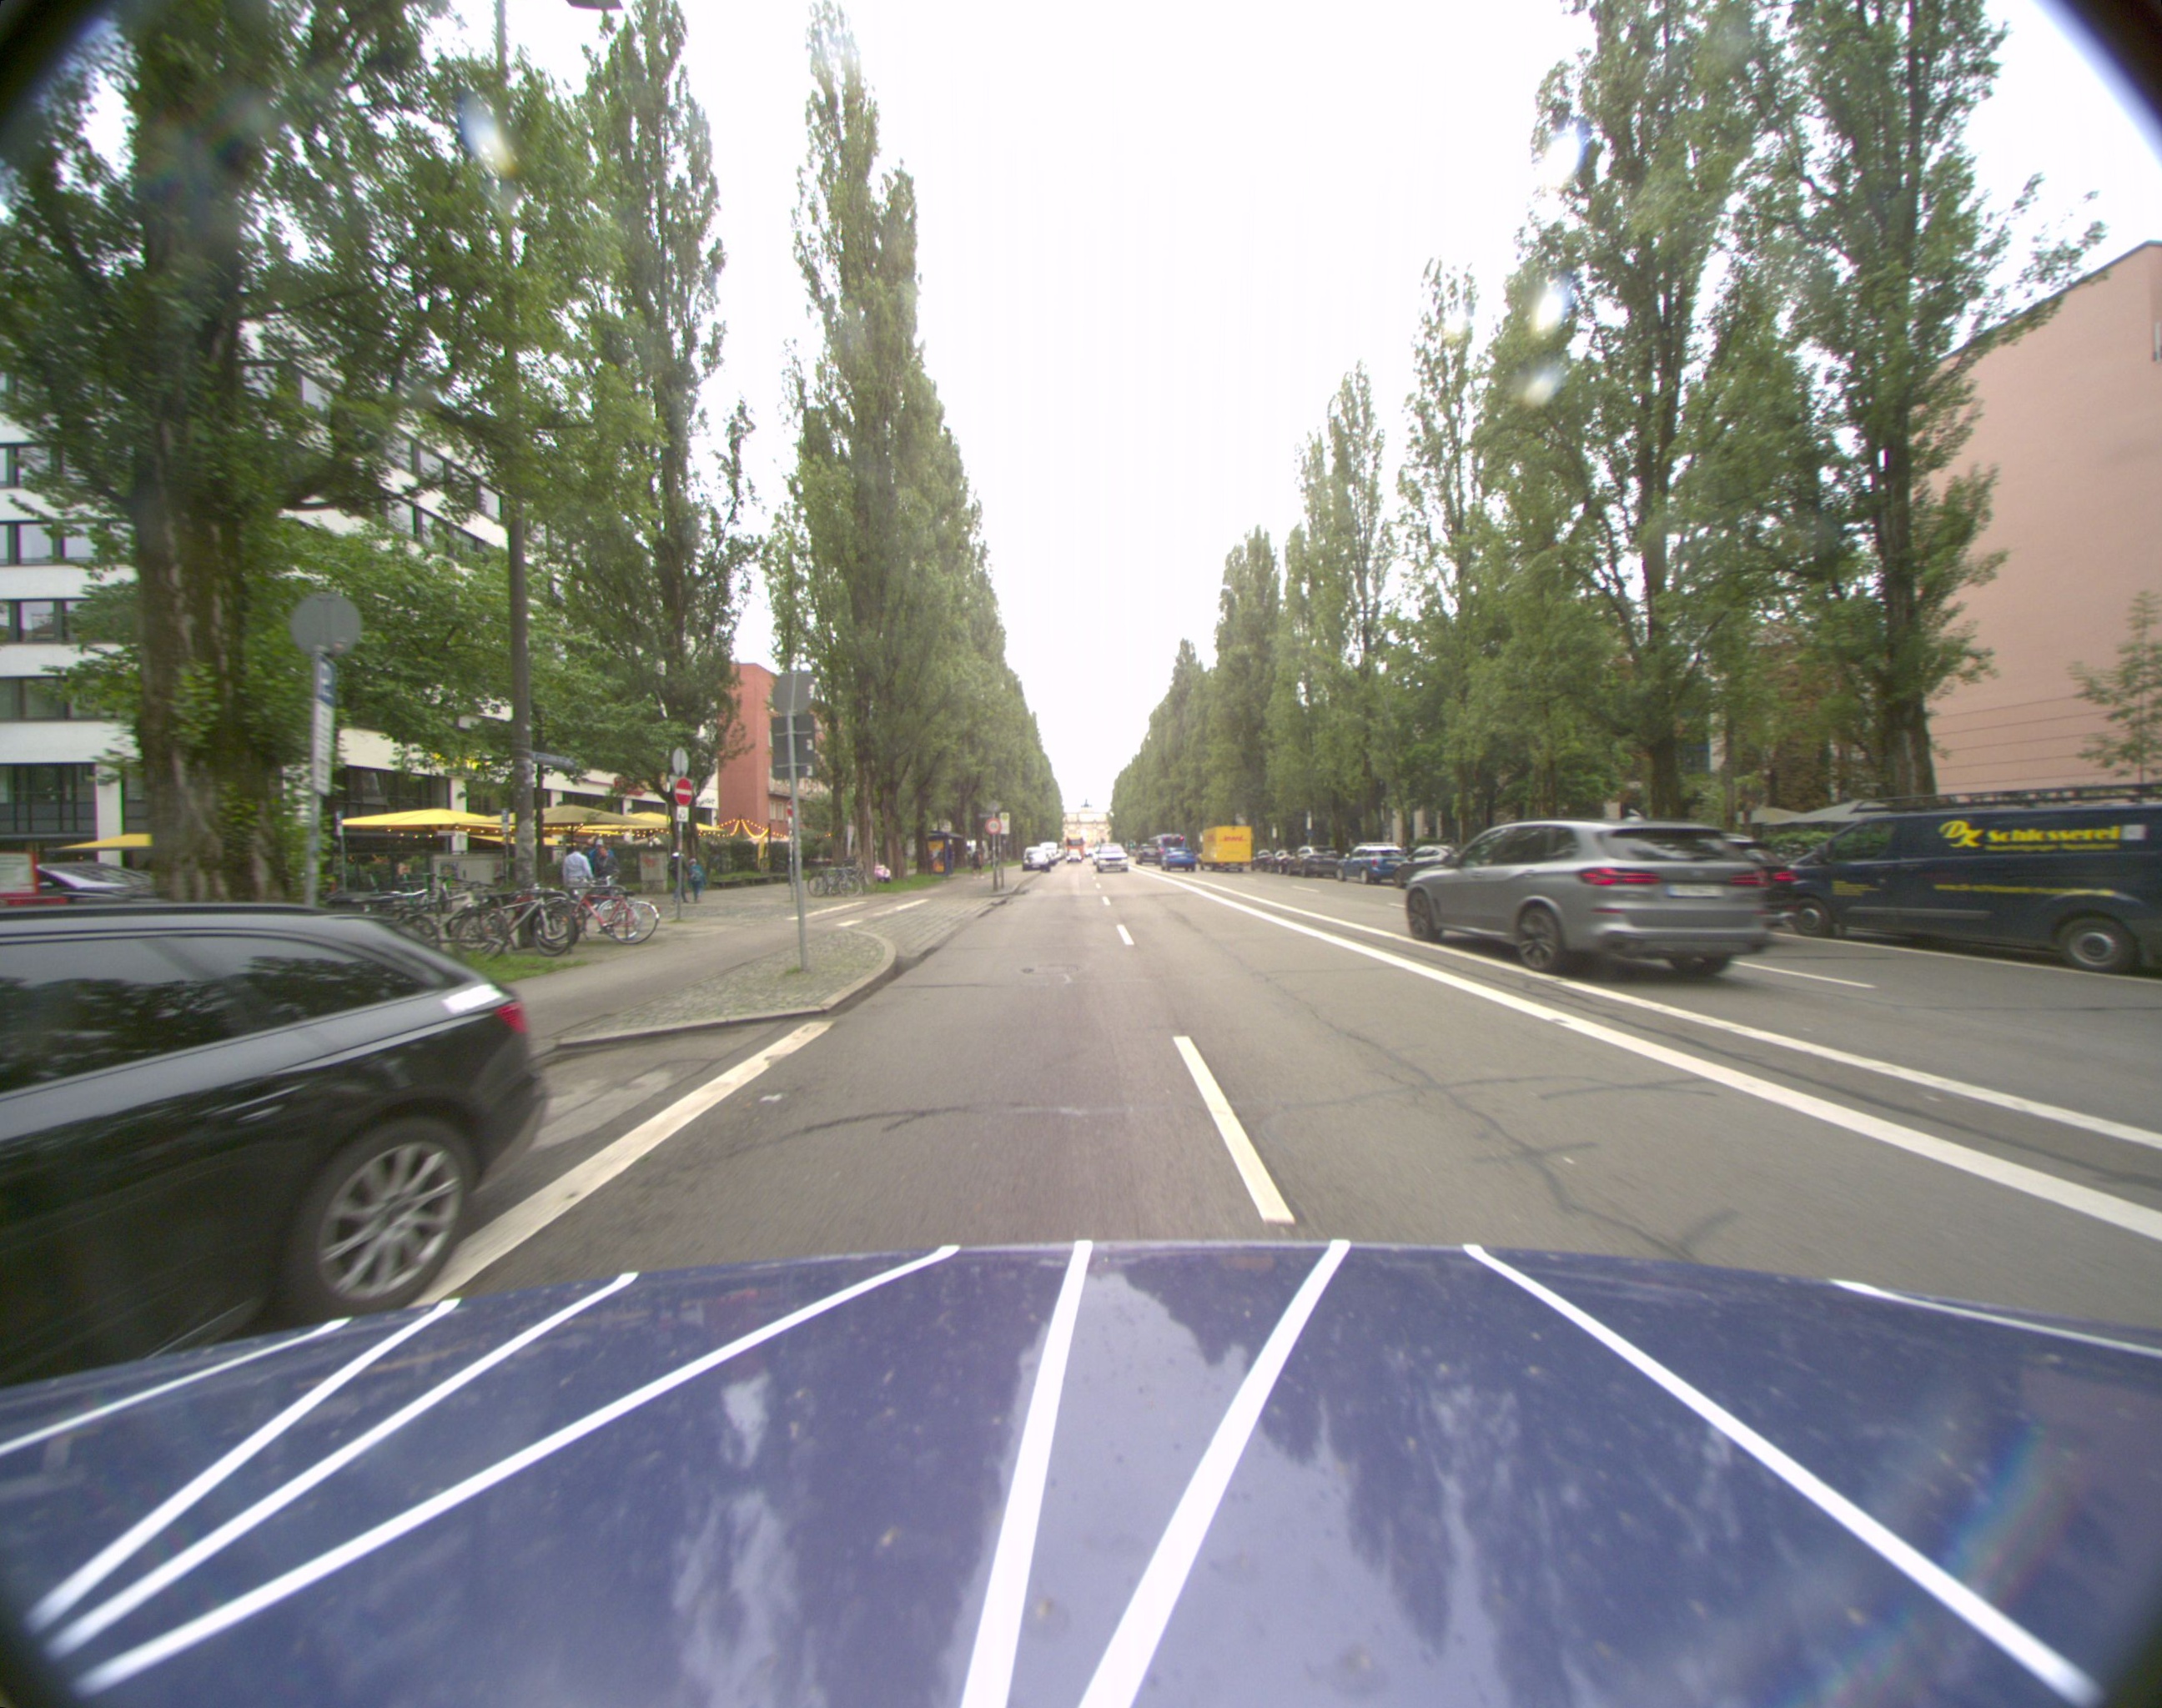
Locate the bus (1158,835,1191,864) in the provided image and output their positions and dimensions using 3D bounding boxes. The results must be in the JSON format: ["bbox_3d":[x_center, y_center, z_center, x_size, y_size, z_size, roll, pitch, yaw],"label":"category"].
[{"bbox_3d":[10.158,-0.474,83.420,2.924,3.034,8.519,-1,0,3],"label":"bus"}]

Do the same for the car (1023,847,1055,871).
[{"bbox_3d":[-2.944,0.325,54.383,2.011,1.571,3.999,-1,1,1],"label":"car"}]

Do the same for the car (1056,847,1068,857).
[{"bbox_3d":[-3.373,-0.321,131.296,2.011,1.747,3.999,-1,1,-2],"label":"car"}]

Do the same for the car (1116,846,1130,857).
[{"bbox_3d":[6.190,-0.403,112.459,1.847,1.518,3.752,0,1,1],"label":"car"}]

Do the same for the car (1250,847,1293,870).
[{"bbox_3d":[12.294,0.291,49.264,1.792,1.404,3.881,-1,1,0],"label":"car"}]

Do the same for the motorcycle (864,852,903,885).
[{"bbox_3d":[-8.173,0.580,31.414,0.631,1.189,1.984,-2,6,-44],"label":"motorcycle"}]

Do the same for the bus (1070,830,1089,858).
[{"bbox_3d":[-0.272,-1.458,116.884,2.647,4.088,9.795,-1,0,0],"label":"bus"}]

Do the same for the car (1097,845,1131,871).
[{"bbox_3d":[2.102,0.255,49.606,2.011,1.571,3.999,-2,1,1],"label":"car"}]

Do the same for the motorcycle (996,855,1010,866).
[{"bbox_3d":[-6.591,0.526,63.870,0.468,0.933,1.658,-2,1,-33],"label":"motorcycle"}]

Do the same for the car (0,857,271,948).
[{"bbox_3d":[-20.274,0.975,15.984,4.199,1.691,1.926,-1,1,-3],"label":"car"}]

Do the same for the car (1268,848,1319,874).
[{"bbox_3d":[12.150,0.374,43.684,1.792,1.404,3.881,-1,1,0],"label":"car"}]

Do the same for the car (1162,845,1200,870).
[{"bbox_3d":[6.480,0.203,49.677,1.870,1.570,4.422,1,1,0],"label":"car"}]

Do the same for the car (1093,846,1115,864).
[{"bbox_3d":[2.160,0.083,72.661,2.011,1.571,3.999,-1,1,1],"label":"car"}]

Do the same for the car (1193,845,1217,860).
[{"bbox_3d":[12.227,-0.120,75.213,1.792,1.404,3.881,-1,1,0],"label":"car"}]

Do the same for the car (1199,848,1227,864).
[{"bbox_3d":[11.614,0.156,67.119,1.792,1.404,3.881,-1,1,0],"label":"car"}]

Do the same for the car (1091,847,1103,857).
[{"bbox_3d":[2.758,-0.365,132.421,2.011,1.571,3.999,-1,1,1],"label":"car"}]

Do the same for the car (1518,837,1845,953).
[{"bbox_3d":[9.768,0.576,12.986,1.998,1.633,4.551,0,0,0],"label":"car"}]

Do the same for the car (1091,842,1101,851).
[{"bbox_3d":[3.482,-1.793,175.619,2.011,2.118,3.999,-1,1,-1],"label":"car"}]

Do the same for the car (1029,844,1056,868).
[{"bbox_3d":[-3.076,0.195,60.963,2.011,1.746,4.000,-2,-1,-2],"label":"car"}]

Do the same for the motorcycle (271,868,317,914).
[{"bbox_3d":[-22.054,1.001,21.274,1.985,1.189,0.772,0,1,41],"label":"motorcycle"}]

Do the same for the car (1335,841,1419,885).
[{"bbox_3d":[12.254,0.341,31.751,1.792,1.722,4.077,0,1,-2],"label":"car"}]

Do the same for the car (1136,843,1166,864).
[{"bbox_3d":[6.135,-0.053,67.223,1.999,1.738,5.062,3,0,-2],"label":"car"}]

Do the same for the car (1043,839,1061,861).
[{"bbox_3d":[-3.535,-0.478,93.845,2.011,2.617,5.999,-1,1,0],"label":"car"}]

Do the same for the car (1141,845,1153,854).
[{"bbox_3d":[12.728,-0.869,147.724,1.998,1.712,4.348,0,1,0],"label":"car"}]

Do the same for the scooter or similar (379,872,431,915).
[{"bbox_3d":[-19.400,1.117,21.833,0.327,1.137,1.251,-1,1,0],"label":"scooter or similar"}]

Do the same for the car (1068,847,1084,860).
[{"bbox_3d":[-0.560,-0.077,87.369,1.647,1.389,4.000,-1,1,1],"label":"car"}]

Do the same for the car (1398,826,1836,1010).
[{"bbox_3d":[5.979,0.573,9.449,1.999,1.706,4.758,0,1,-1],"label":"car"}]

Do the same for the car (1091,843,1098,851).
[{"bbox_3d":[3.612,-1.979,203.084,2.011,2.118,3.999,-1,1,1],"label":"car"}]

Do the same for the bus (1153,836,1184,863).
[{"bbox_3d":[10.493,-0.512,91.708,2.924,3.034,9.797,-1,0,2],"label":"bus"}]

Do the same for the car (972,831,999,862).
[{"bbox_3d":[-9.777,-0.748,78.396,2.199,3.000,5.998,-1,1,-2],"label":"car"}]

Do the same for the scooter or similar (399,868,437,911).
[{"bbox_3d":[-18.687,0.992,21.434,0.370,1.137,1.427,-1,1,-24],"label":"scooter or similar"}]

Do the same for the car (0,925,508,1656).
[{"bbox_3d":[-3.239,1.052,0.794,1.755,1.419,4.448,-2,1,2],"label":"car"}]

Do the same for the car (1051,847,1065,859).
[{"bbox_3d":[-3.512,-0.184,113.808,2.011,1.747,3.999,-1,1,-2],"label":"car"}]

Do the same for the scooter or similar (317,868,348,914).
[{"bbox_3d":[-21.425,1.064,21.736,1.354,1.265,0.328,-2,0,33],"label":"scooter or similar"}]

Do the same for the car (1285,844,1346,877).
[{"bbox_3d":[11.973,0.292,39.016,1.792,1.591,4.236,-1,1,0],"label":"car"}]
